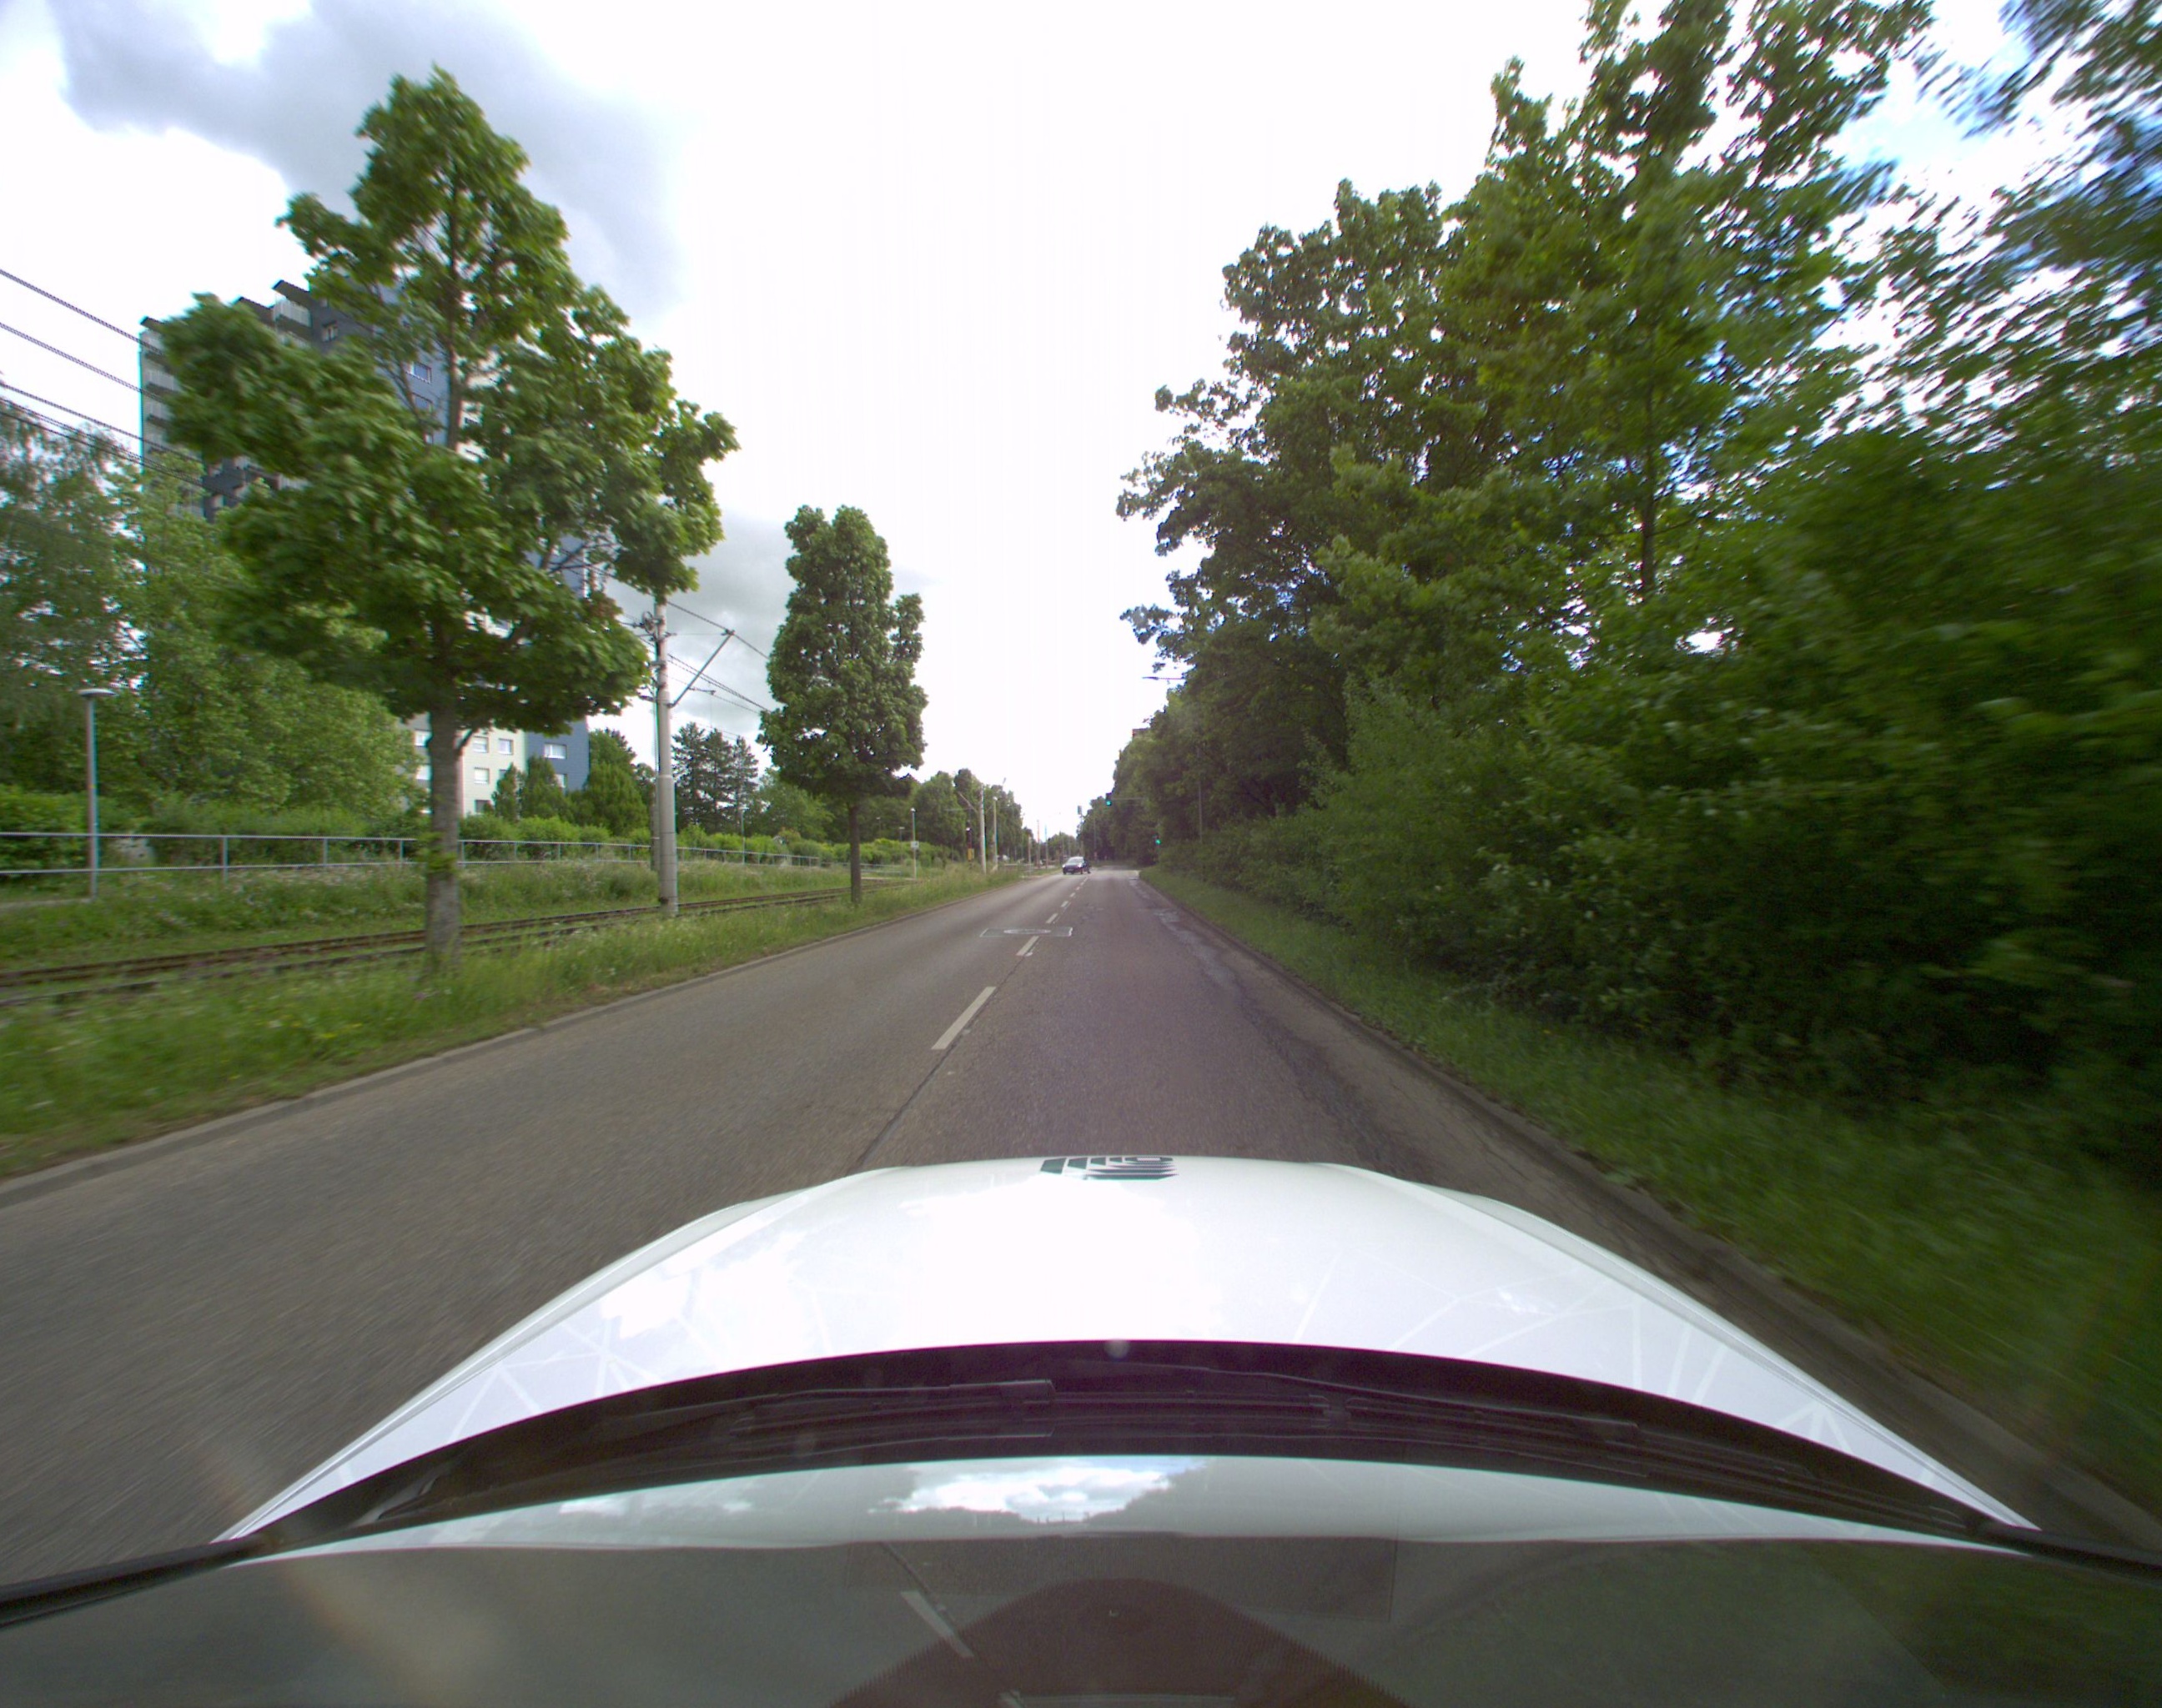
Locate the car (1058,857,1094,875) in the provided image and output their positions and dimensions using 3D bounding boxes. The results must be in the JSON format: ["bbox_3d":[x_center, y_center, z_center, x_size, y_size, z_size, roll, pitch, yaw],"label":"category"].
[{"bbox_3d":[-0.420,1.014,72.088,1.835,1.470,4.276,-1,0,18],"label":"car"}]
